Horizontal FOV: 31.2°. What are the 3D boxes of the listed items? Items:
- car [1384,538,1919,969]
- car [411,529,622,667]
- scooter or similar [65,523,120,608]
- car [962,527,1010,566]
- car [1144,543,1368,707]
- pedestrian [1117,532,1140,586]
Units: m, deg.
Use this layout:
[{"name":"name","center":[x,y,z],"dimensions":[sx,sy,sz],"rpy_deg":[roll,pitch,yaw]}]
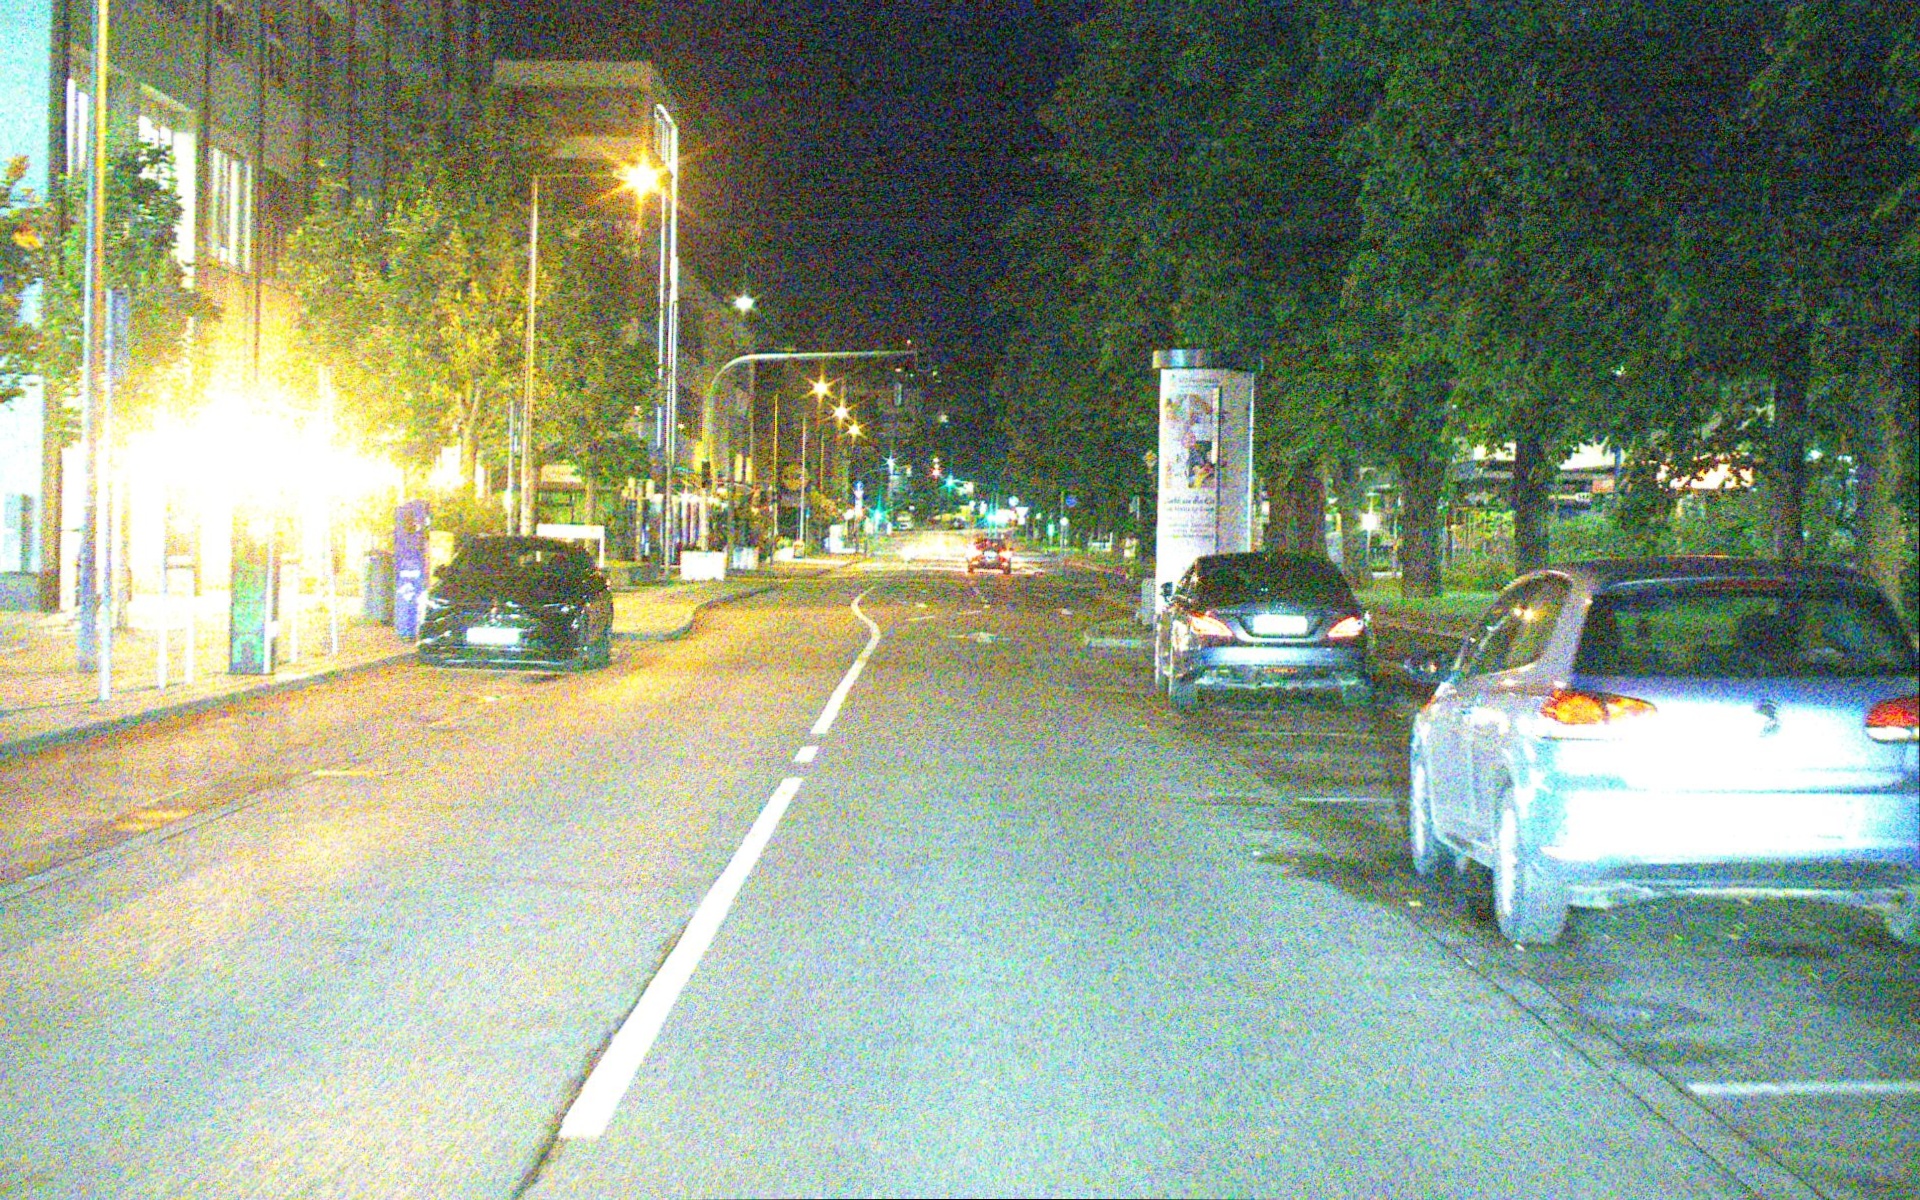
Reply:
[{"name":"car","center":[2.860,0.518,14.382],"dimensions":[1.689,1.531,4.016],"rpy_deg":[0,1,0]},{"name":"car","center":[-4.968,-0.070,39.028],"dimensions":[1.741,1.408,4.496],"rpy_deg":[2,1,0]},{"name":"scooter or similar","center":[-12.604,-0.509,49.962],"dimensions":[0.387,1.217,1.344],"rpy_deg":[1,1,2]},{"name":"car","center":[1.125,-2.300,147.856],"dimensions":[1.993,1.637,4.000],"rpy_deg":[0,1,0]},{"name":"car","center":[2.762,0.184,33.033],"dimensions":[1.764,1.409,4.808],"rpy_deg":[0,1,0]},{"name":"pedestrian","center":[5.710,-1.410,116.684],"dimensions":[0.703,1.812,1.082],"rpy_deg":[1,1,0]}]
